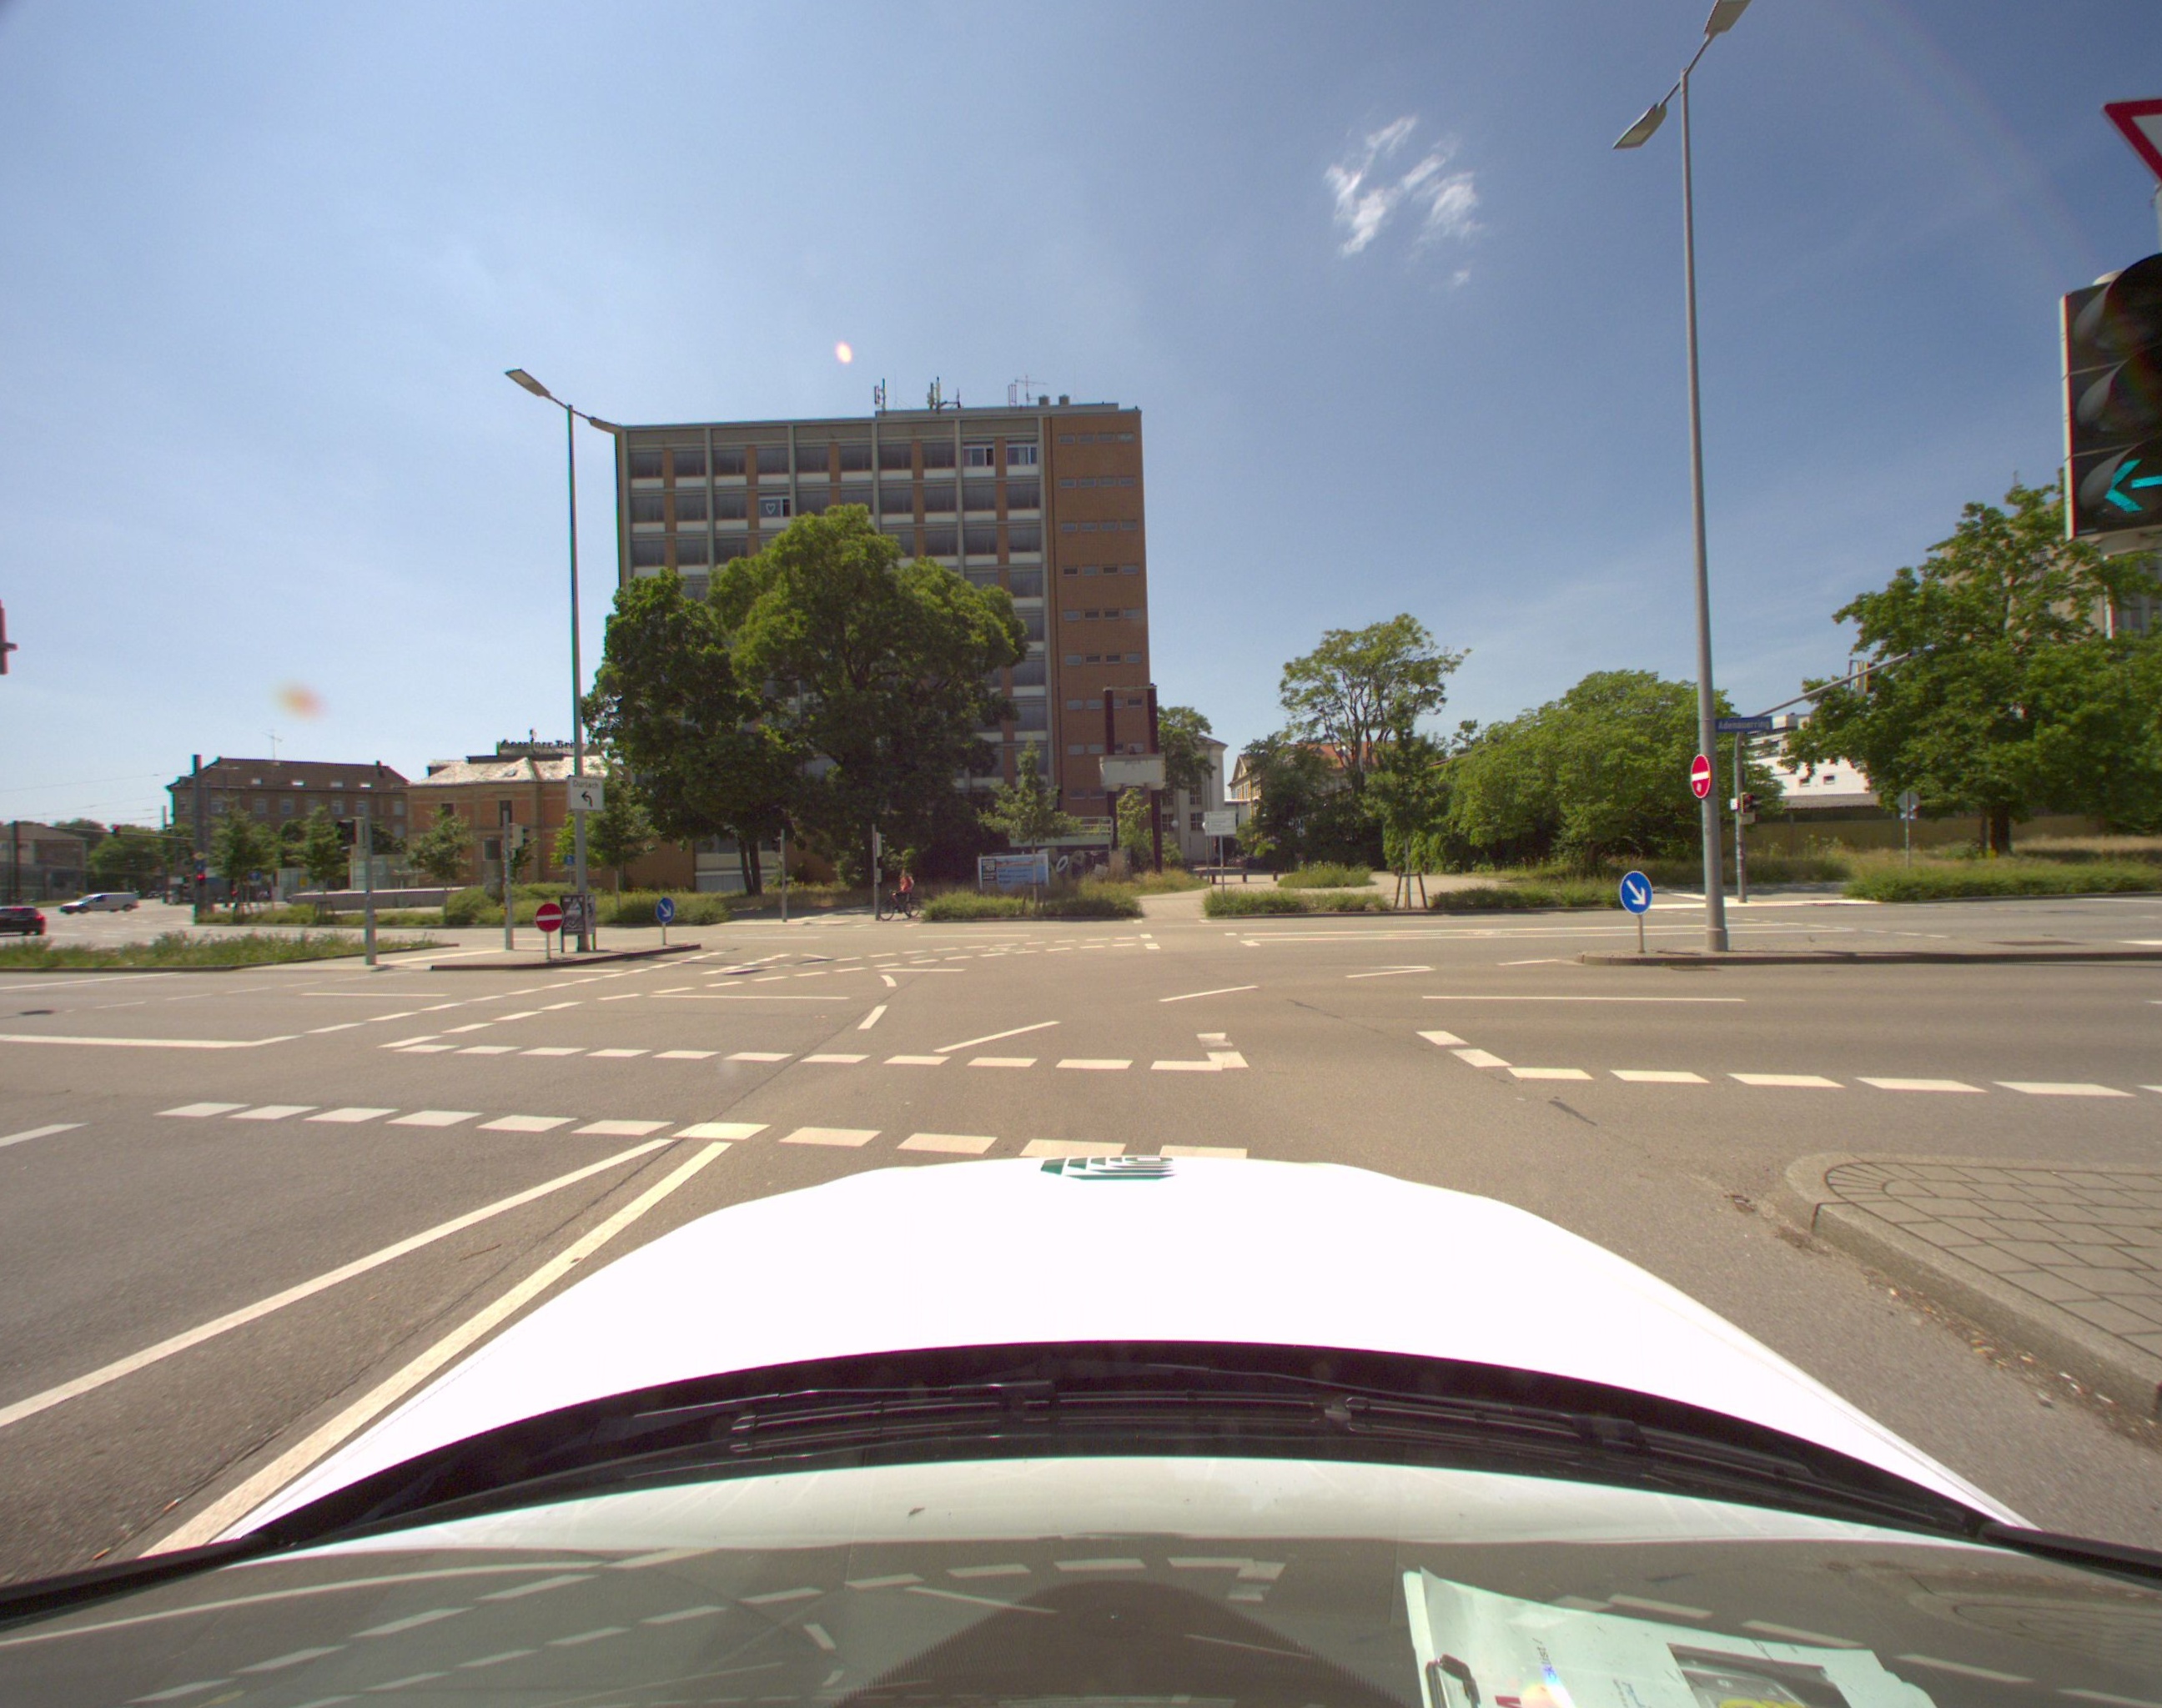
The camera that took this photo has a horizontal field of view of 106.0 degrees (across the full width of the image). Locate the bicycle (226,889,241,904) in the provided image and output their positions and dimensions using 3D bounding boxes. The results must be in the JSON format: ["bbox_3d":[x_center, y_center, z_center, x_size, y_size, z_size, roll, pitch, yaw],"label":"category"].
[{"bbox_3d":[-107.888,5.433,103.664,3.140,1.788,0.618,0,-1,31],"label":"bicycle"}]

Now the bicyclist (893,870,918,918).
[{"bbox_3d":[-6.450,1.448,29.923,0.544,1.715,0.707,0,1,43],"label":"bicyclist"}]

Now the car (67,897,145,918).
[{"bbox_3d":[-92.275,5.041,77.138,1.797,1.627,4.334,0,0,11],"label":"car"}]

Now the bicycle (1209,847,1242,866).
[{"bbox_3d":[15.608,0.299,88.023,3.432,2.014,0.761,0,-1,3],"label":"bicycle"}]

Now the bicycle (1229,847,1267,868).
[{"bbox_3d":[15.955,0.298,77.830,3.432,2.014,0.761,0,-1,3],"label":"bicycle"}]

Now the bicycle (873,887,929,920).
[{"bbox_3d":[-6.575,1.787,29.803,0.551,1.045,2.009,-1,1,43],"label":"bicycle"}]

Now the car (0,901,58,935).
[{"bbox_3d":[-53.756,3.238,41.273,4.528,1.557,1.733,-3,-1,30],"label":"car"}]

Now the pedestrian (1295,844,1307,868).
[{"bbox_3d":[15.384,0.107,56.918,0.637,1.665,0.707,0,-1,1],"label":"pedestrian"}]

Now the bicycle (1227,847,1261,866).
[{"bbox_3d":[16.816,0.252,84.034,3.432,2.014,0.761,0,-1,3],"label":"bicycle"}]

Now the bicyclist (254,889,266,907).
[{"bbox_3d":[-92.202,4.954,91.460,0.651,1.938,0.770,0,-1,29],"label":"bicyclist"}]

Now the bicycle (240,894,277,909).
[{"bbox_3d":[-92.270,5.312,91.348,0.626,1.463,2.852,0,0,29],"label":"bicycle"}]

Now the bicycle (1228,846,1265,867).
[{"bbox_3d":[16.003,0.241,78.887,3.432,2.014,0.761,0,-1,3],"label":"bicycle"}]

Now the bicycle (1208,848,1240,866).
[{"bbox_3d":[15.665,0.311,89.145,3.432,2.014,0.761,0,-1,3],"label":"bicycle"}]

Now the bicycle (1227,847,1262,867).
[{"bbox_3d":[16.399,0.277,81.838,3.432,2.014,0.761,0,-1,3],"label":"bicycle"}]

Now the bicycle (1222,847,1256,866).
[{"bbox_3d":[16.747,0.258,86.259,3.432,2.014,0.761,0,-1,3],"label":"bicycle"}]

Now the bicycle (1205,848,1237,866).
[{"bbox_3d":[15.535,0.334,90.371,3.432,2.014,0.761,0,-1,3],"label":"bicycle"}]

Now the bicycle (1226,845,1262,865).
[{"bbox_3d":[16.029,0.088,80.292,3.432,2.014,0.761,0,-1,3],"label":"bicycle"}]
